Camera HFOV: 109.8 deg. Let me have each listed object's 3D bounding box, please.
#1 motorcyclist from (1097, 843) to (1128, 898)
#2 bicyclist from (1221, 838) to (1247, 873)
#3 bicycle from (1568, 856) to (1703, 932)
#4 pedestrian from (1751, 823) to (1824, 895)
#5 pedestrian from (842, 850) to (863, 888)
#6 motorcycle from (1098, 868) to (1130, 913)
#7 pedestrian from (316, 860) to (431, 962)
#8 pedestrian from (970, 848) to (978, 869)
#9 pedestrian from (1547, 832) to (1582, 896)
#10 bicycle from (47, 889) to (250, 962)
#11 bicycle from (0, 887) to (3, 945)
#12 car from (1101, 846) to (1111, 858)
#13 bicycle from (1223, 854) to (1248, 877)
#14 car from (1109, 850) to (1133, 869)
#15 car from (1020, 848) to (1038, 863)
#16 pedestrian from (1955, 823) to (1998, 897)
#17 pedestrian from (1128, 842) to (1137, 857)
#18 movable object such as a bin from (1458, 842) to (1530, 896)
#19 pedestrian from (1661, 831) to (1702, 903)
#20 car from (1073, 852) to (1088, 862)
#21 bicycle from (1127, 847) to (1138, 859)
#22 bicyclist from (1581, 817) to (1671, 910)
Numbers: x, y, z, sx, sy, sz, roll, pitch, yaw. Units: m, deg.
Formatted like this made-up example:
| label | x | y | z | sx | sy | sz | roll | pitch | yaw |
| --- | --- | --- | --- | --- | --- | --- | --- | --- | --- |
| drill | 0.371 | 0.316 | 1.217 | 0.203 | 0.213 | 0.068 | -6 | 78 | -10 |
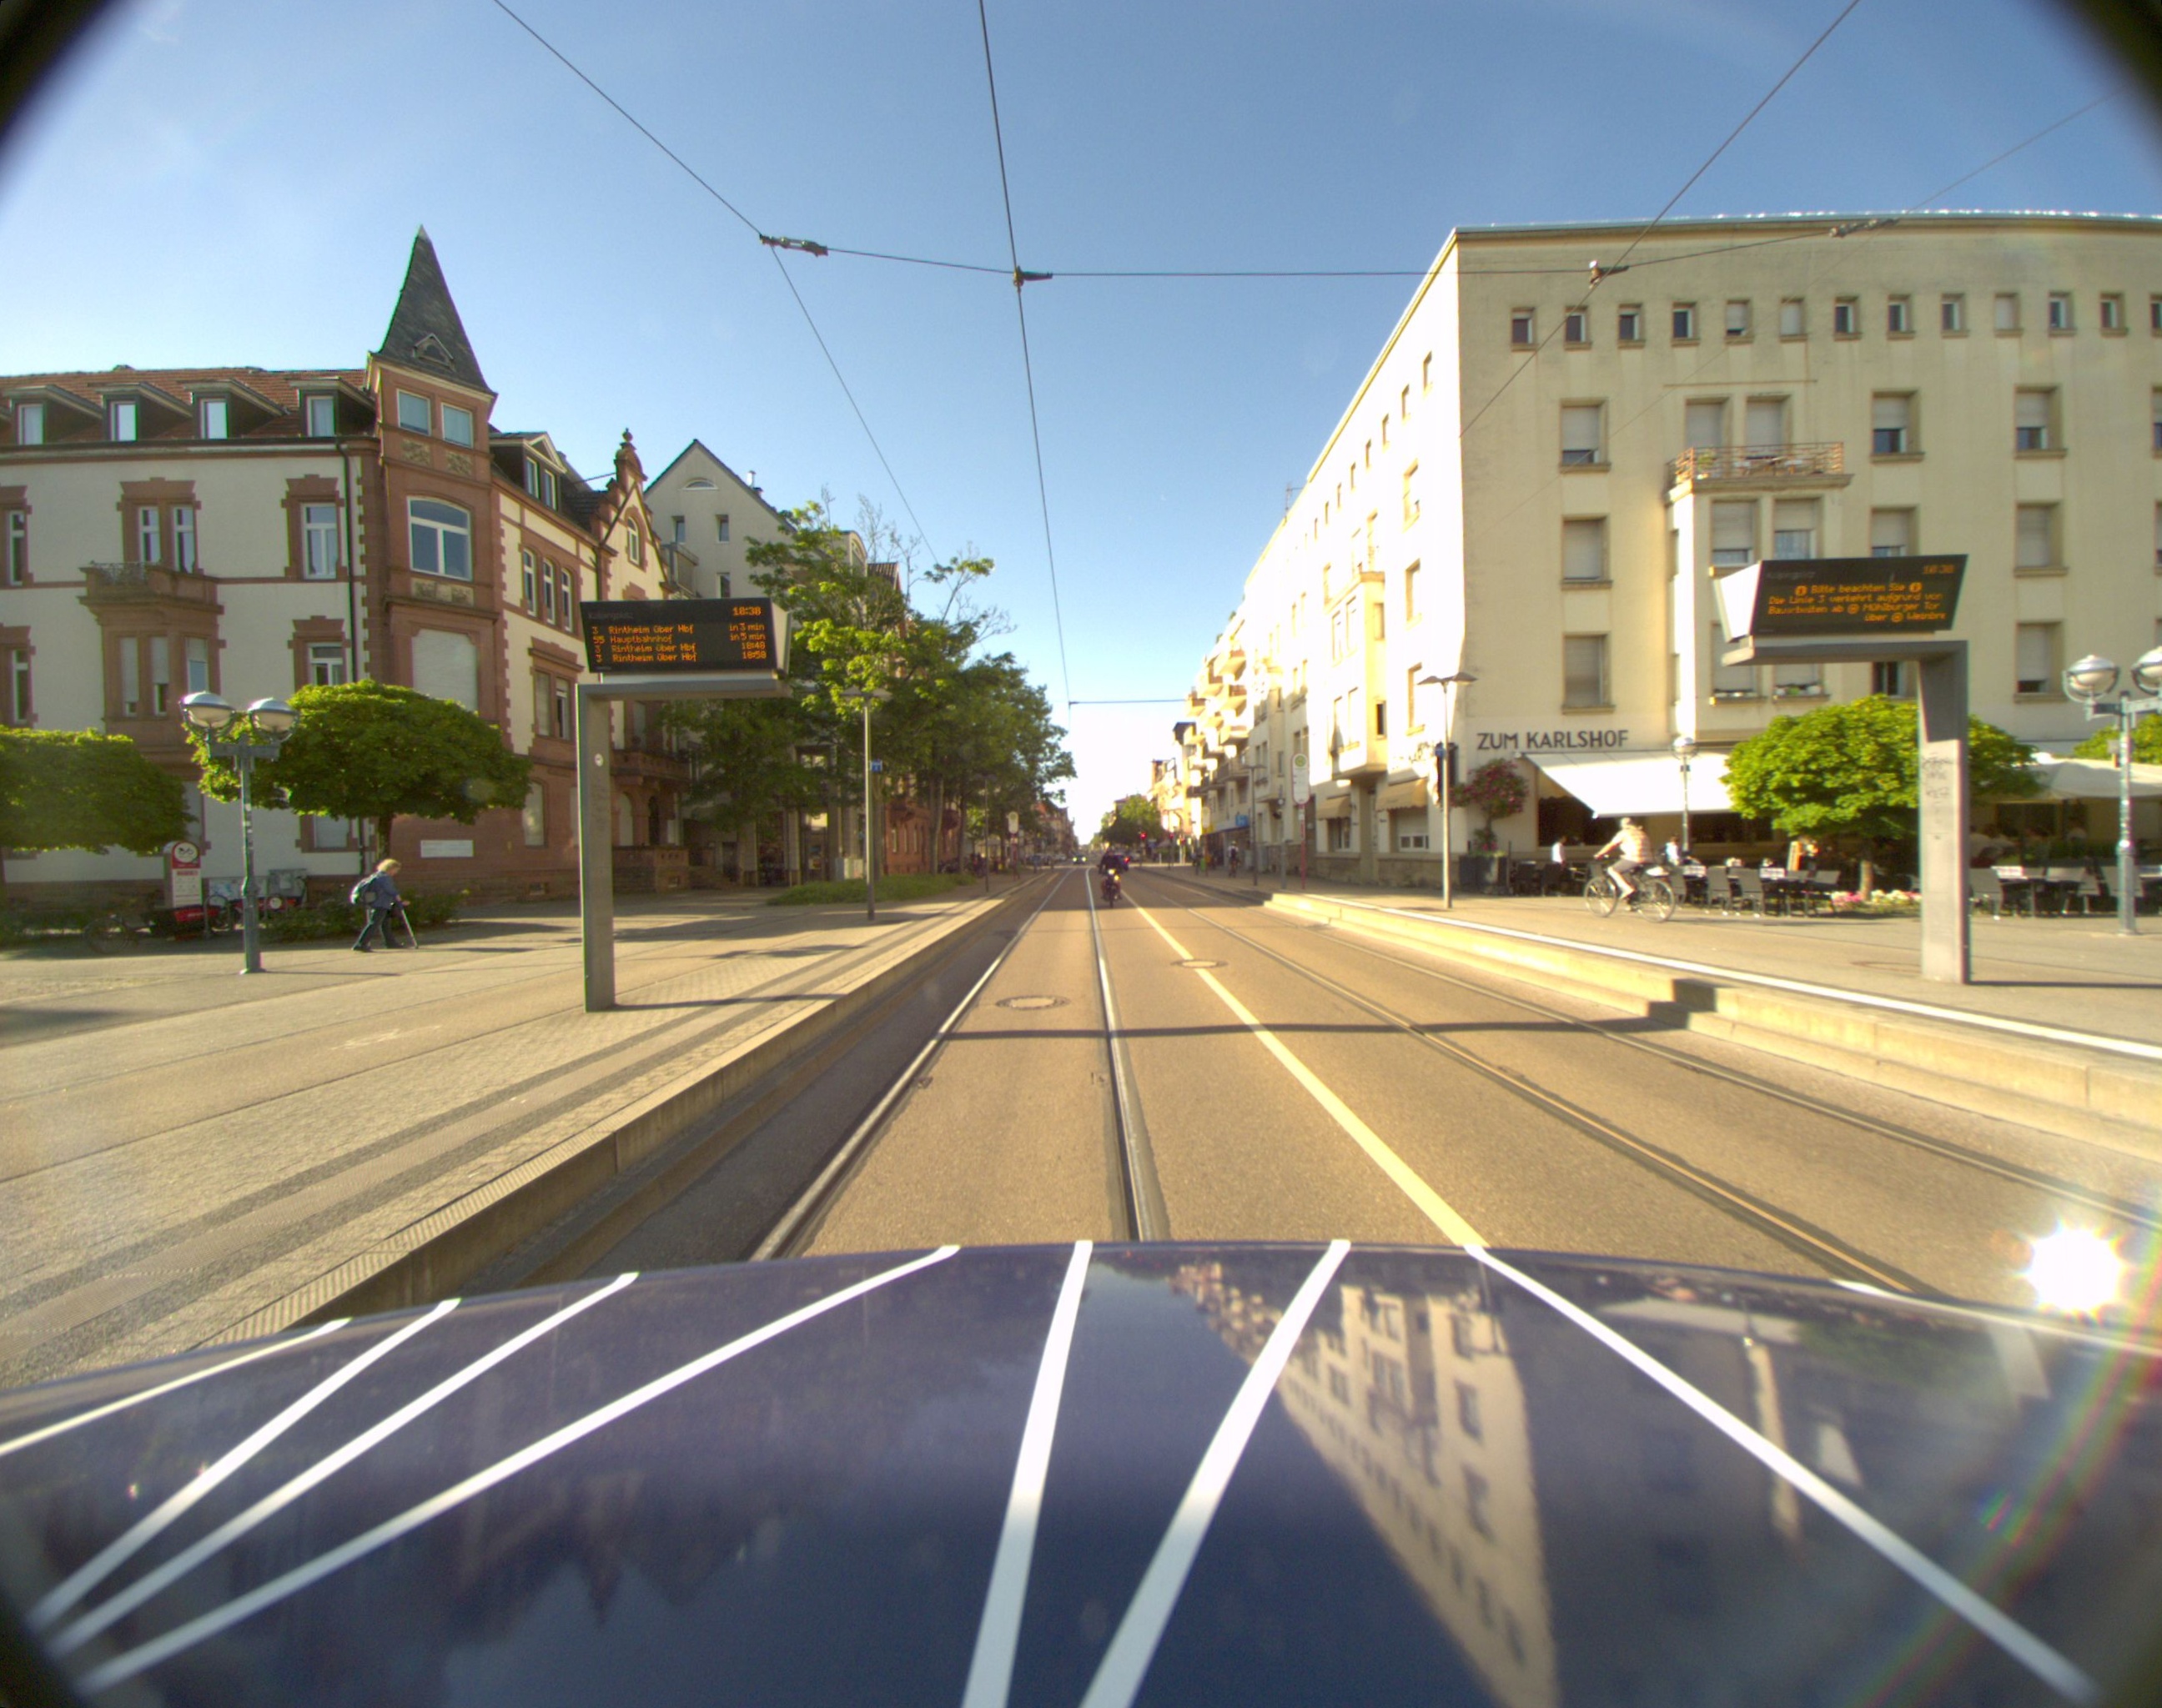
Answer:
| label | x | y | z | sx | sy | sz | roll | pitch | yaw |
| --- | --- | --- | --- | --- | --- | --- | --- | --- | --- |
| motorcyclist | 0.870 | 0.438 | 21.155 | 0.821 | 1.466 | 1.114 | -1 | 1 | 1 |
| bicyclist | 7.898 | 0.084 | 39.293 | 1.006 | 1.783 | 1.095 | -1 | 1 | -4 |
| bicycle | 8.971 | 0.605 | 12.419 | 0.730 | 1.107 | 1.976 | -2 | 1 | -1 |
| pedestrian | 16.831 | 0.114 | 18.111 | 1.066 | 1.635 | 0.756 | -1 | 1 | -4 |
| pedestrian | -10.581 | 0.679 | 35.178 | 0.742 | 1.725 | 0.877 | -1 | 1 | -6 |
| motorcycle | 0.892 | 0.974 | 21.128 | 0.799 | 1.090 | 2.428 | -1 | 1 | 1 |
| pedestrian | -12.196 | 0.952 | 13.144 | 1.070 | 1.659 | 0.956 | -2 | 1 | -12 |
| pedestrian | -10.231 | 0.461 | 72.839 | 0.653 | 2.002 | 0.559 | -1 | 1 | 3 |
| pedestrian | 12.642 | 0.276 | 19.891 | 0.672 | 1.634 | 0.752 | -1 | -2 | 28 |
| bicycle | -18.187 | 1.338 | 14.975 | 0.790 | 1.062 | 2.804 | -2 | 2 | -8 |
| bicycle | -25.818 | 1.471 | 16.447 | 0.746 | 1.364 | 2.914 | -1 | 1 | 1 |
| car | 4.700 | -0.353 | 142.909 | 1.877 | 2.105 | 4.000 | -1 | 1 | 2 |
| bicycle | 7.971 | 0.591 | 39.353 | 0.714 | 1.119 | 2.035 | -1 | 1 | -5 |
| car | 3.241 | 0.433 | 62.499 | 1.671 | 1.479 | 3.999 | -2 | 0 | 0 |
| car | -7.257 | 0.218 | 105.950 | 1.998 | 2.002 | 4.001 | -1 | 1 | 4 |
| pedestrian | 22.241 | 0.146 | 18.878 | 0.578 | 1.813 | 0.647 | -2 | 1 | -36 |
| pedestrian | 7.193 | -0.611 | 106.881 | 1.176 | 2.002 | 1.022 | -1 | 1 | 5 |
| movable object such as a bin | 11.186 | 0.388 | 20.629 | 1.318 | 1.392 | 1.128 | -1 | 1 | -1 |
| pedestrian | 13.925 | 0.310 | 17.632 | 0.672 | 1.634 | 0.678 | -1 | -2 | 35 |
| car | -0.049 | 0.468 | 108.016 | 1.998 | 1.318 | 3.863 | -1 | 0 | 1 |
| bicycle | 7.262 | -0.157 | 107.045 | 1.226 | 1.719 | 3.109 | -1 | 1 | 10 |
| bicyclist | 8.955 | 0.145 | 12.516 | 0.829 | 1.447 | 0.877 | -2 | 1 | 0 |
